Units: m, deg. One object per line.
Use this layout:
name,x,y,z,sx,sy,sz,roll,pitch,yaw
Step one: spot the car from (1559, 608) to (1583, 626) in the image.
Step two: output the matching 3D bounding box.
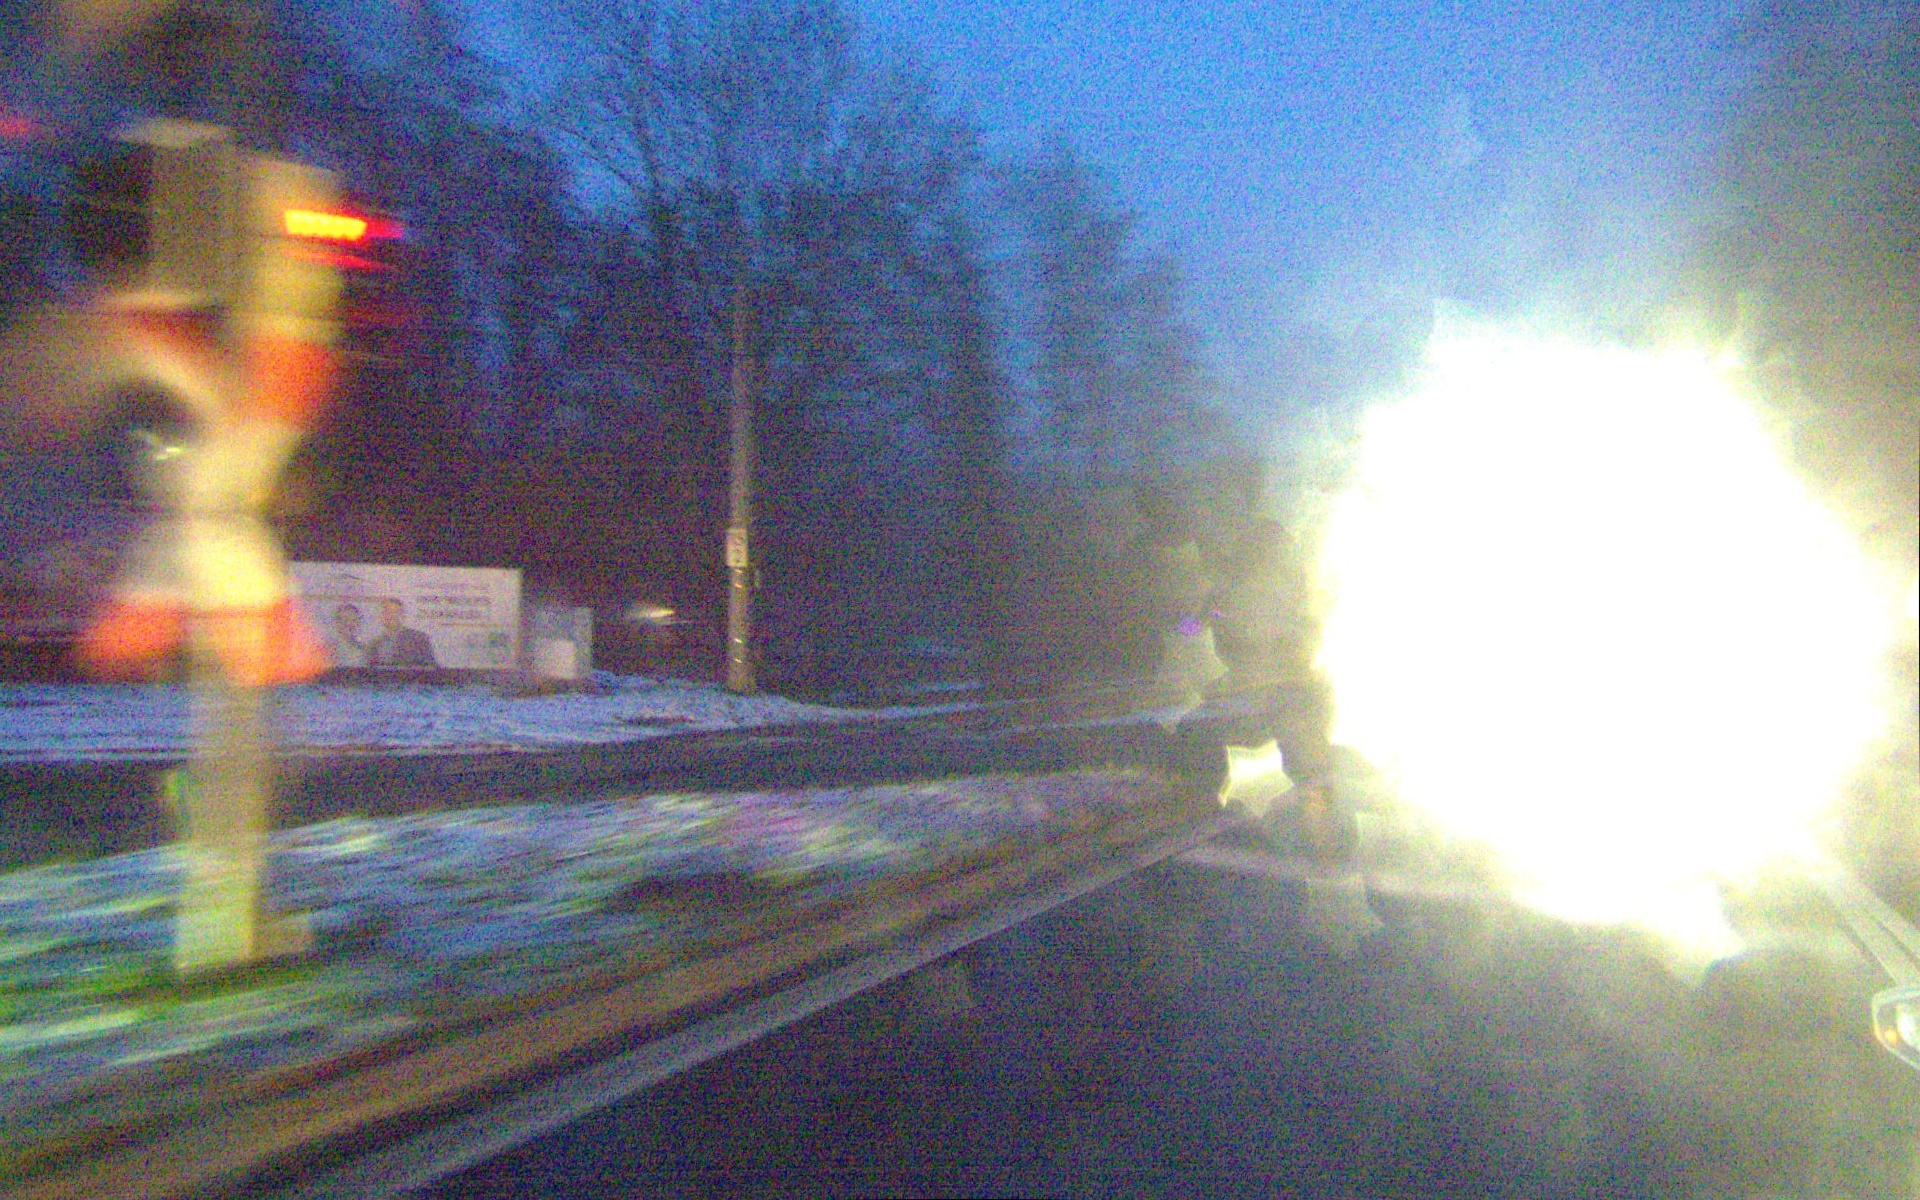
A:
car,58.733,1.627,96.496,1.862,1.693,3.990,-2,-1,32
